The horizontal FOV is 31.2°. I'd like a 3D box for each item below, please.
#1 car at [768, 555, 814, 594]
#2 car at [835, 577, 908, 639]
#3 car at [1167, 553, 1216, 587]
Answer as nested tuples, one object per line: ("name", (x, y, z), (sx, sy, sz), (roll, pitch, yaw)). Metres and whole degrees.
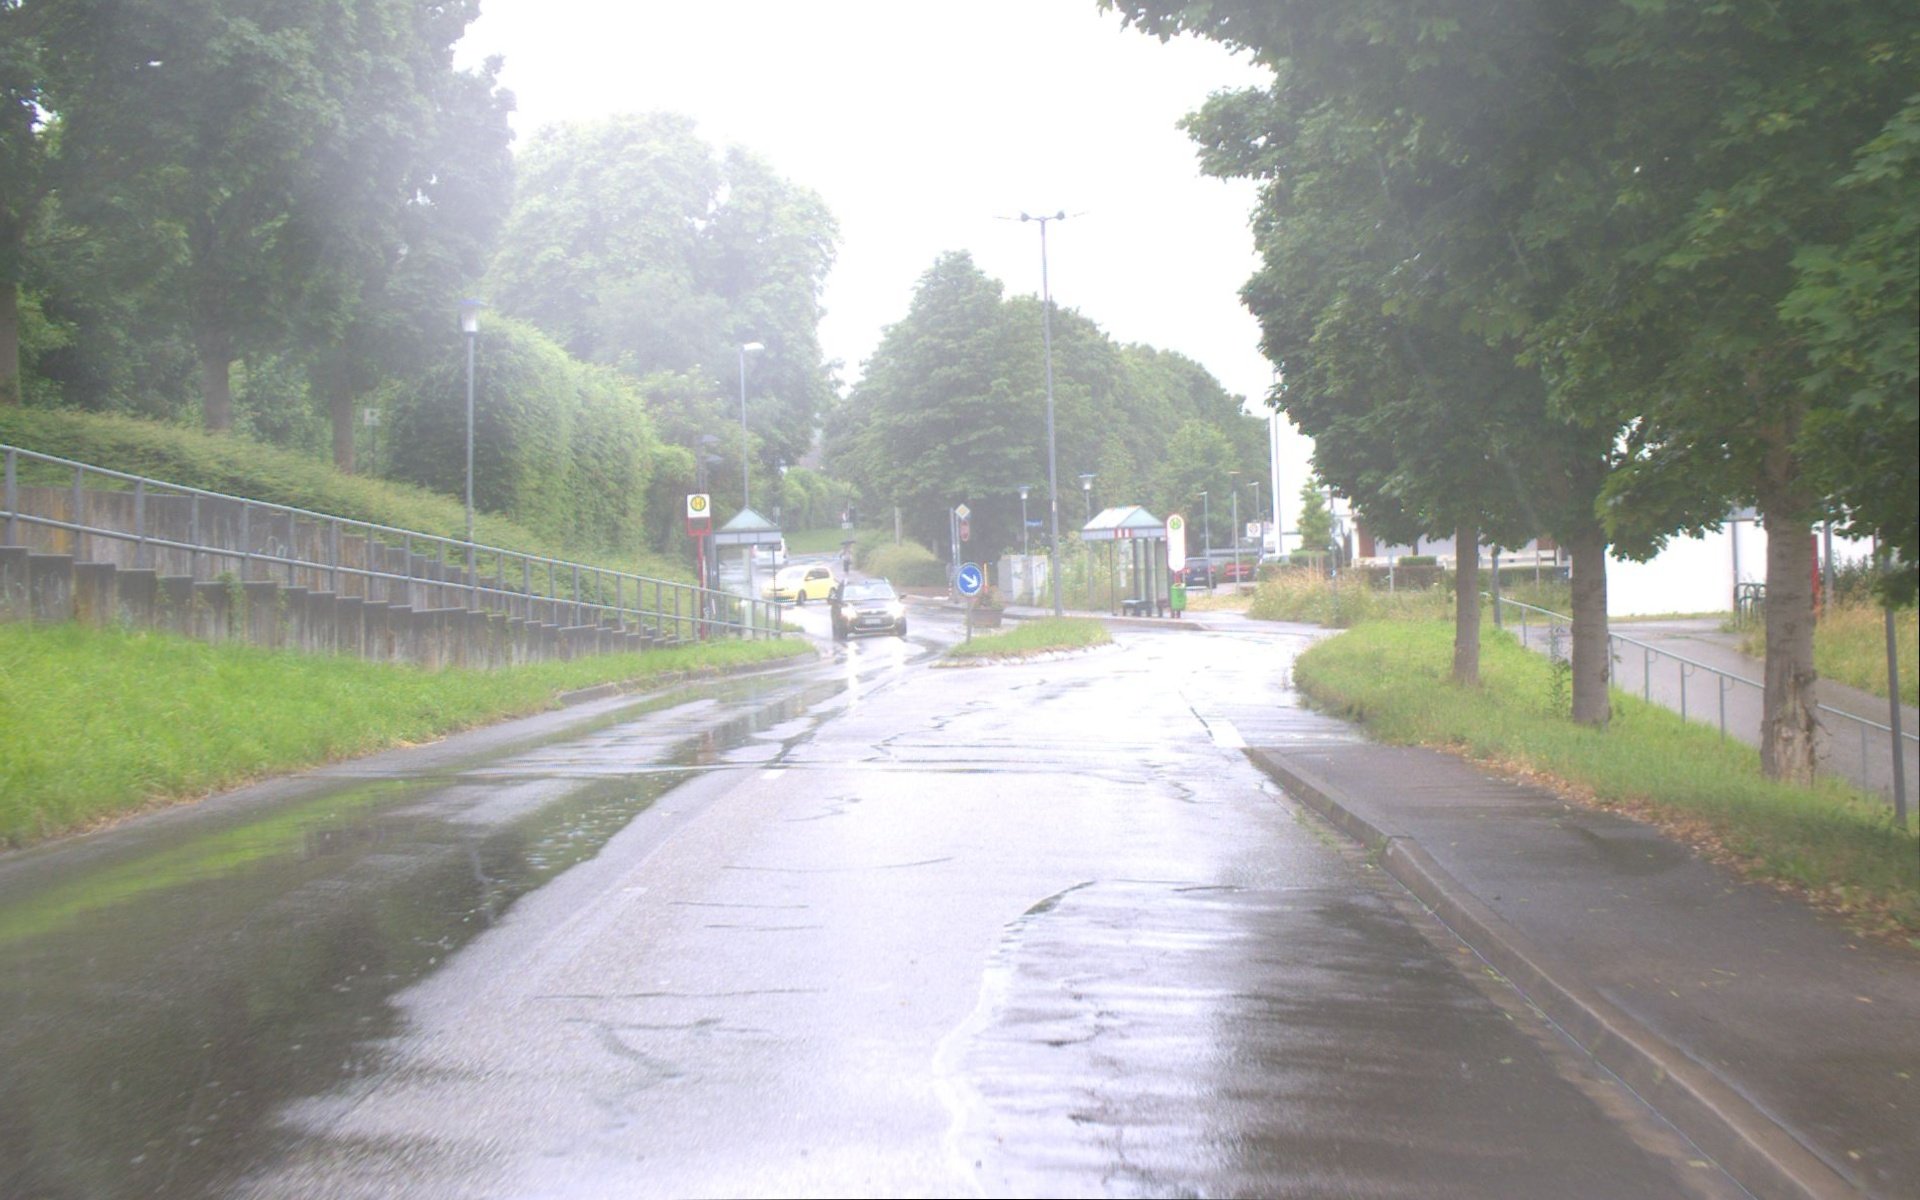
("car", (-6.551, -0.982, 133.042), (1.572, 1.405, 3.475), (-3, 1, -5))
("car", (-2.346, 0.196, 90.207), (1.760, 1.498, 4.142), (-3, 0, -3))
("car", (10.821, -1.411, 161.063), (1.688, 1.433, 3.613), (-1, 2, -6))
